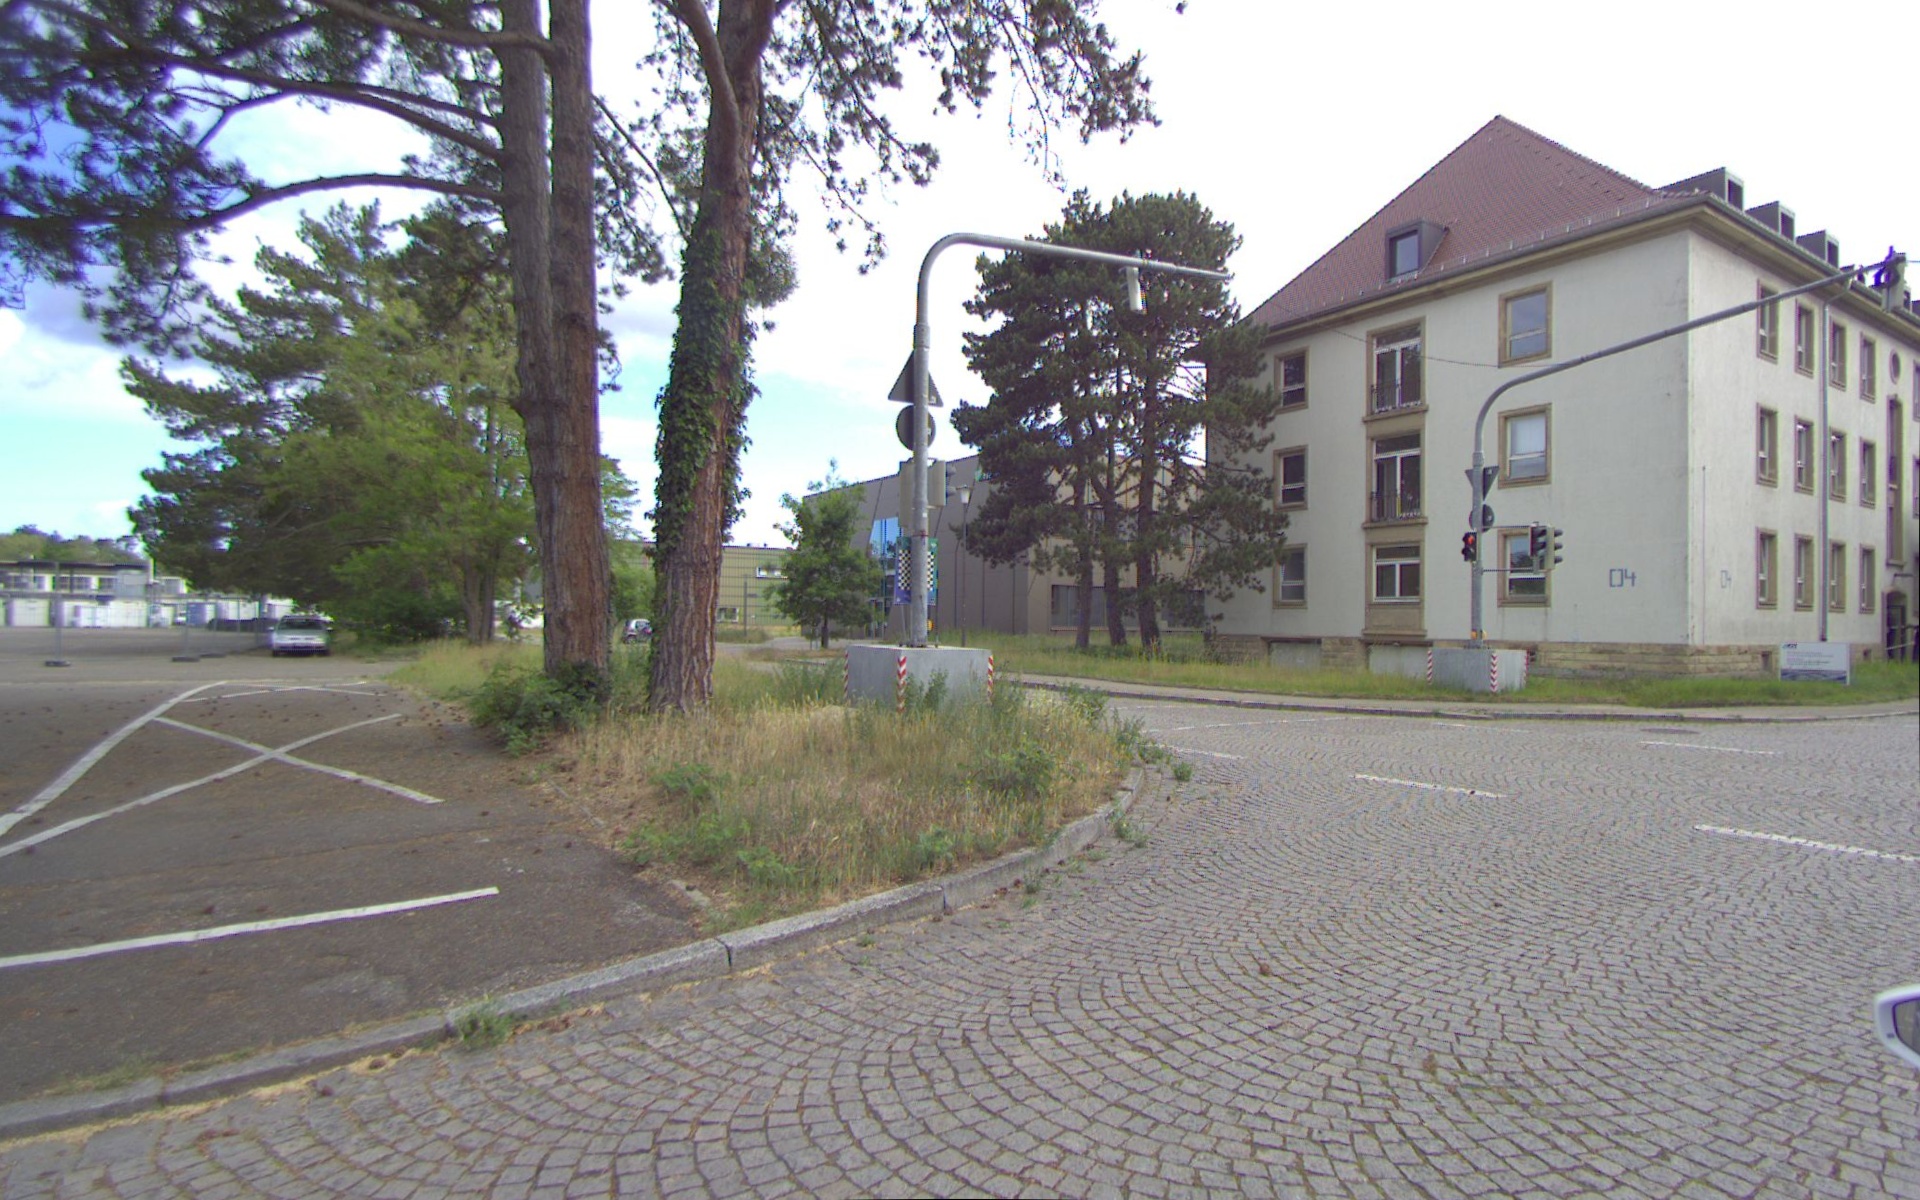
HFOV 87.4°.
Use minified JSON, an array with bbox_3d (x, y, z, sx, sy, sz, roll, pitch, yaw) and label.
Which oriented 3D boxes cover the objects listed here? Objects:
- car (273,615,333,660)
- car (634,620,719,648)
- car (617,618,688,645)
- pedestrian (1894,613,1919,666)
[{"bbox_3d":[-23.921,1.320,36.536,1.718,1.451,4.122,2,-1,-34],"label":"car"},{"bbox_3d":[-16.659,1.979,59.056,4.452,1.482,1.915,-1,0,-36],"label":"car"},{"bbox_3d":[-20.072,2.024,65.661,4.081,1.593,1.747,-1,0,-36],"label":"car"},{"bbox_3d":[33.256,1.369,34.950,0.929,1.804,0.834,1,-1,-28],"label":"pedestrian"}]
